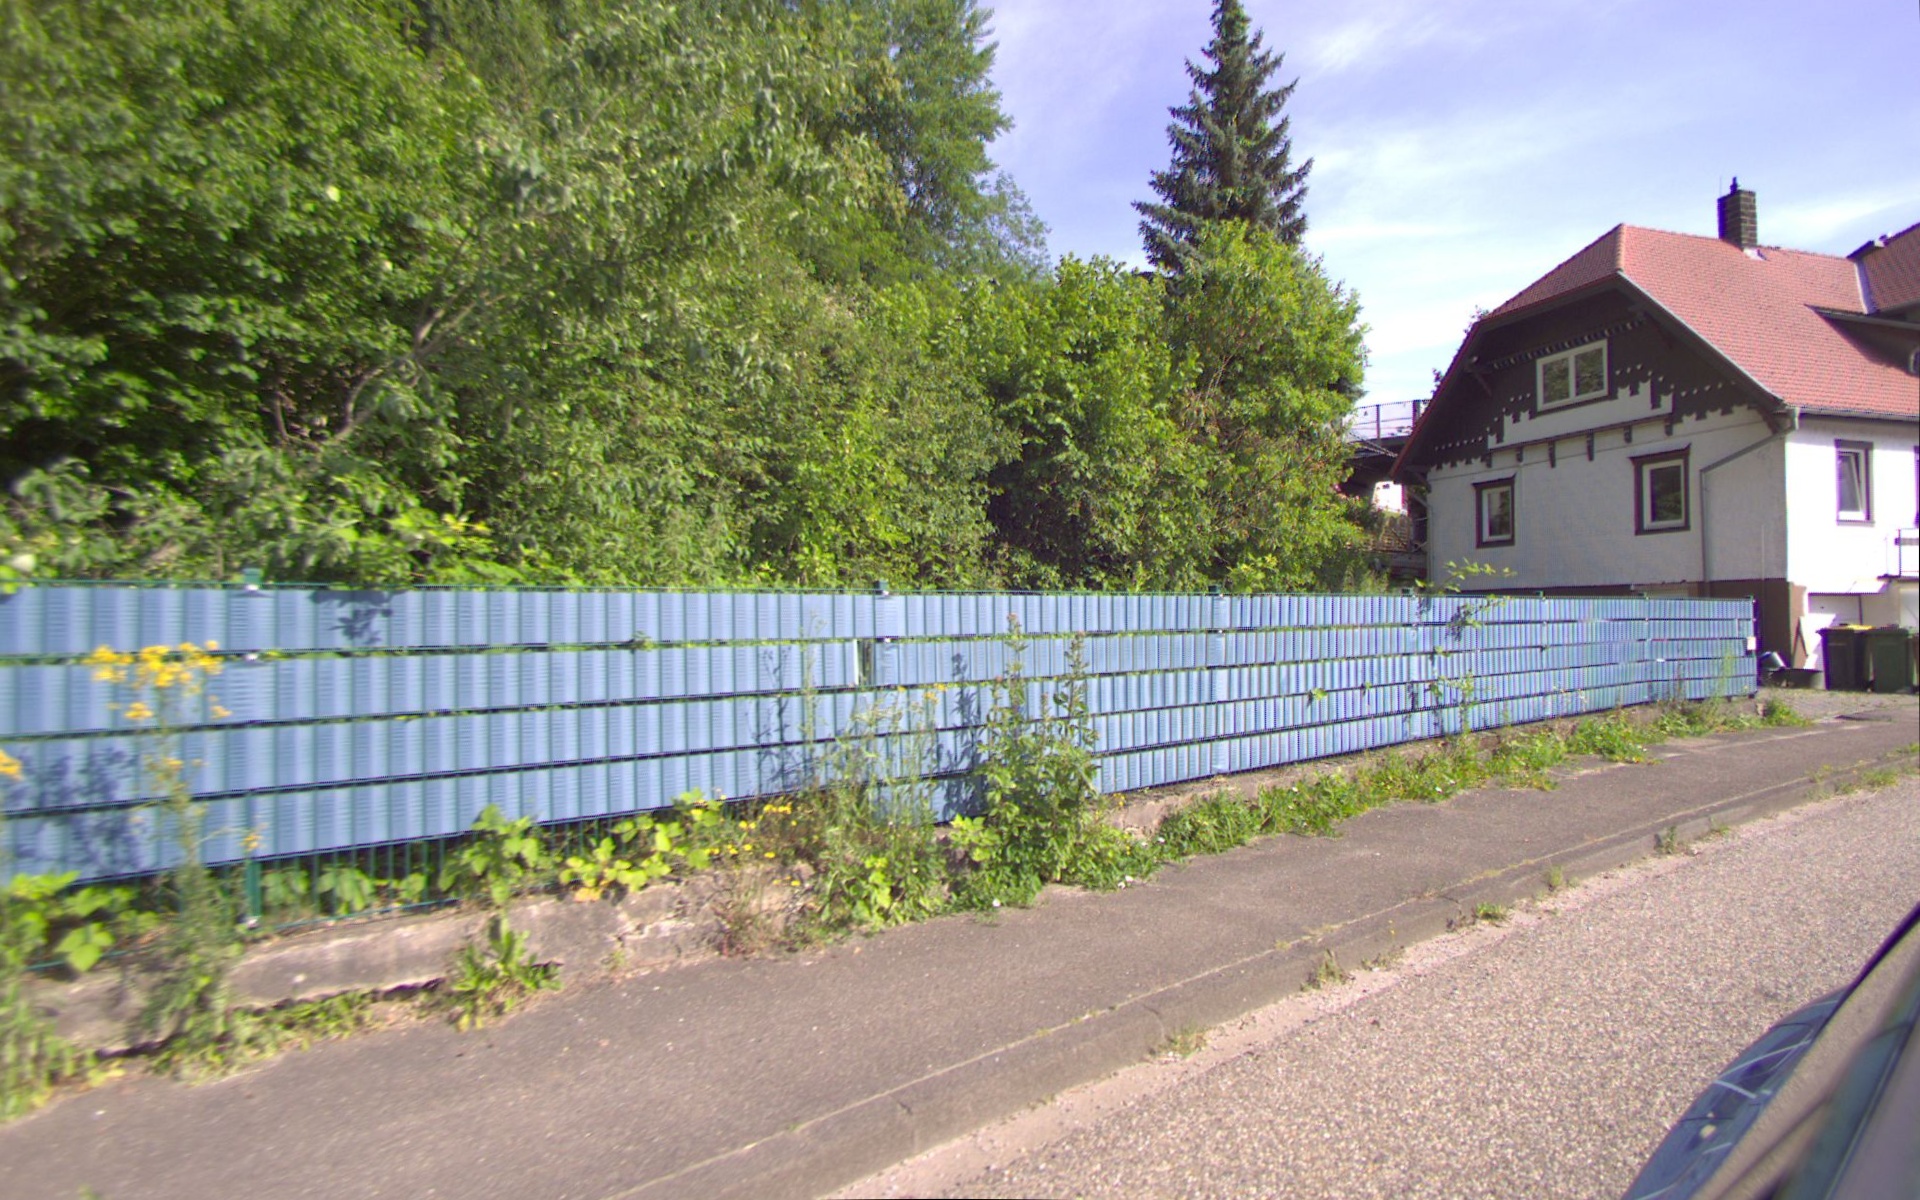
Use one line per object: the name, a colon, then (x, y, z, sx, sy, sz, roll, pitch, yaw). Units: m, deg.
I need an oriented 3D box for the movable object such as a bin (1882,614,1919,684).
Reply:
movable object such as a bin: (15.051, 0.757, 15.926, 0.737, 1.076, 0.479, 0, -2, -21)

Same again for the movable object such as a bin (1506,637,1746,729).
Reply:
movable object such as a bin: (7.225, 0.859, 10.973, 2.485, 0.858, 0.859, -1, -2, -21)

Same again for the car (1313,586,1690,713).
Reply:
car: (7.265, 0.626, 13.855, 4.298, 1.488, 1.815, -1, -2, 34)

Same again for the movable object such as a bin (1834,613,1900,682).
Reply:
movable object such as a bin: (14.715, 0.763, 16.419, 0.737, 1.076, 0.479, 0, -2, -21)
